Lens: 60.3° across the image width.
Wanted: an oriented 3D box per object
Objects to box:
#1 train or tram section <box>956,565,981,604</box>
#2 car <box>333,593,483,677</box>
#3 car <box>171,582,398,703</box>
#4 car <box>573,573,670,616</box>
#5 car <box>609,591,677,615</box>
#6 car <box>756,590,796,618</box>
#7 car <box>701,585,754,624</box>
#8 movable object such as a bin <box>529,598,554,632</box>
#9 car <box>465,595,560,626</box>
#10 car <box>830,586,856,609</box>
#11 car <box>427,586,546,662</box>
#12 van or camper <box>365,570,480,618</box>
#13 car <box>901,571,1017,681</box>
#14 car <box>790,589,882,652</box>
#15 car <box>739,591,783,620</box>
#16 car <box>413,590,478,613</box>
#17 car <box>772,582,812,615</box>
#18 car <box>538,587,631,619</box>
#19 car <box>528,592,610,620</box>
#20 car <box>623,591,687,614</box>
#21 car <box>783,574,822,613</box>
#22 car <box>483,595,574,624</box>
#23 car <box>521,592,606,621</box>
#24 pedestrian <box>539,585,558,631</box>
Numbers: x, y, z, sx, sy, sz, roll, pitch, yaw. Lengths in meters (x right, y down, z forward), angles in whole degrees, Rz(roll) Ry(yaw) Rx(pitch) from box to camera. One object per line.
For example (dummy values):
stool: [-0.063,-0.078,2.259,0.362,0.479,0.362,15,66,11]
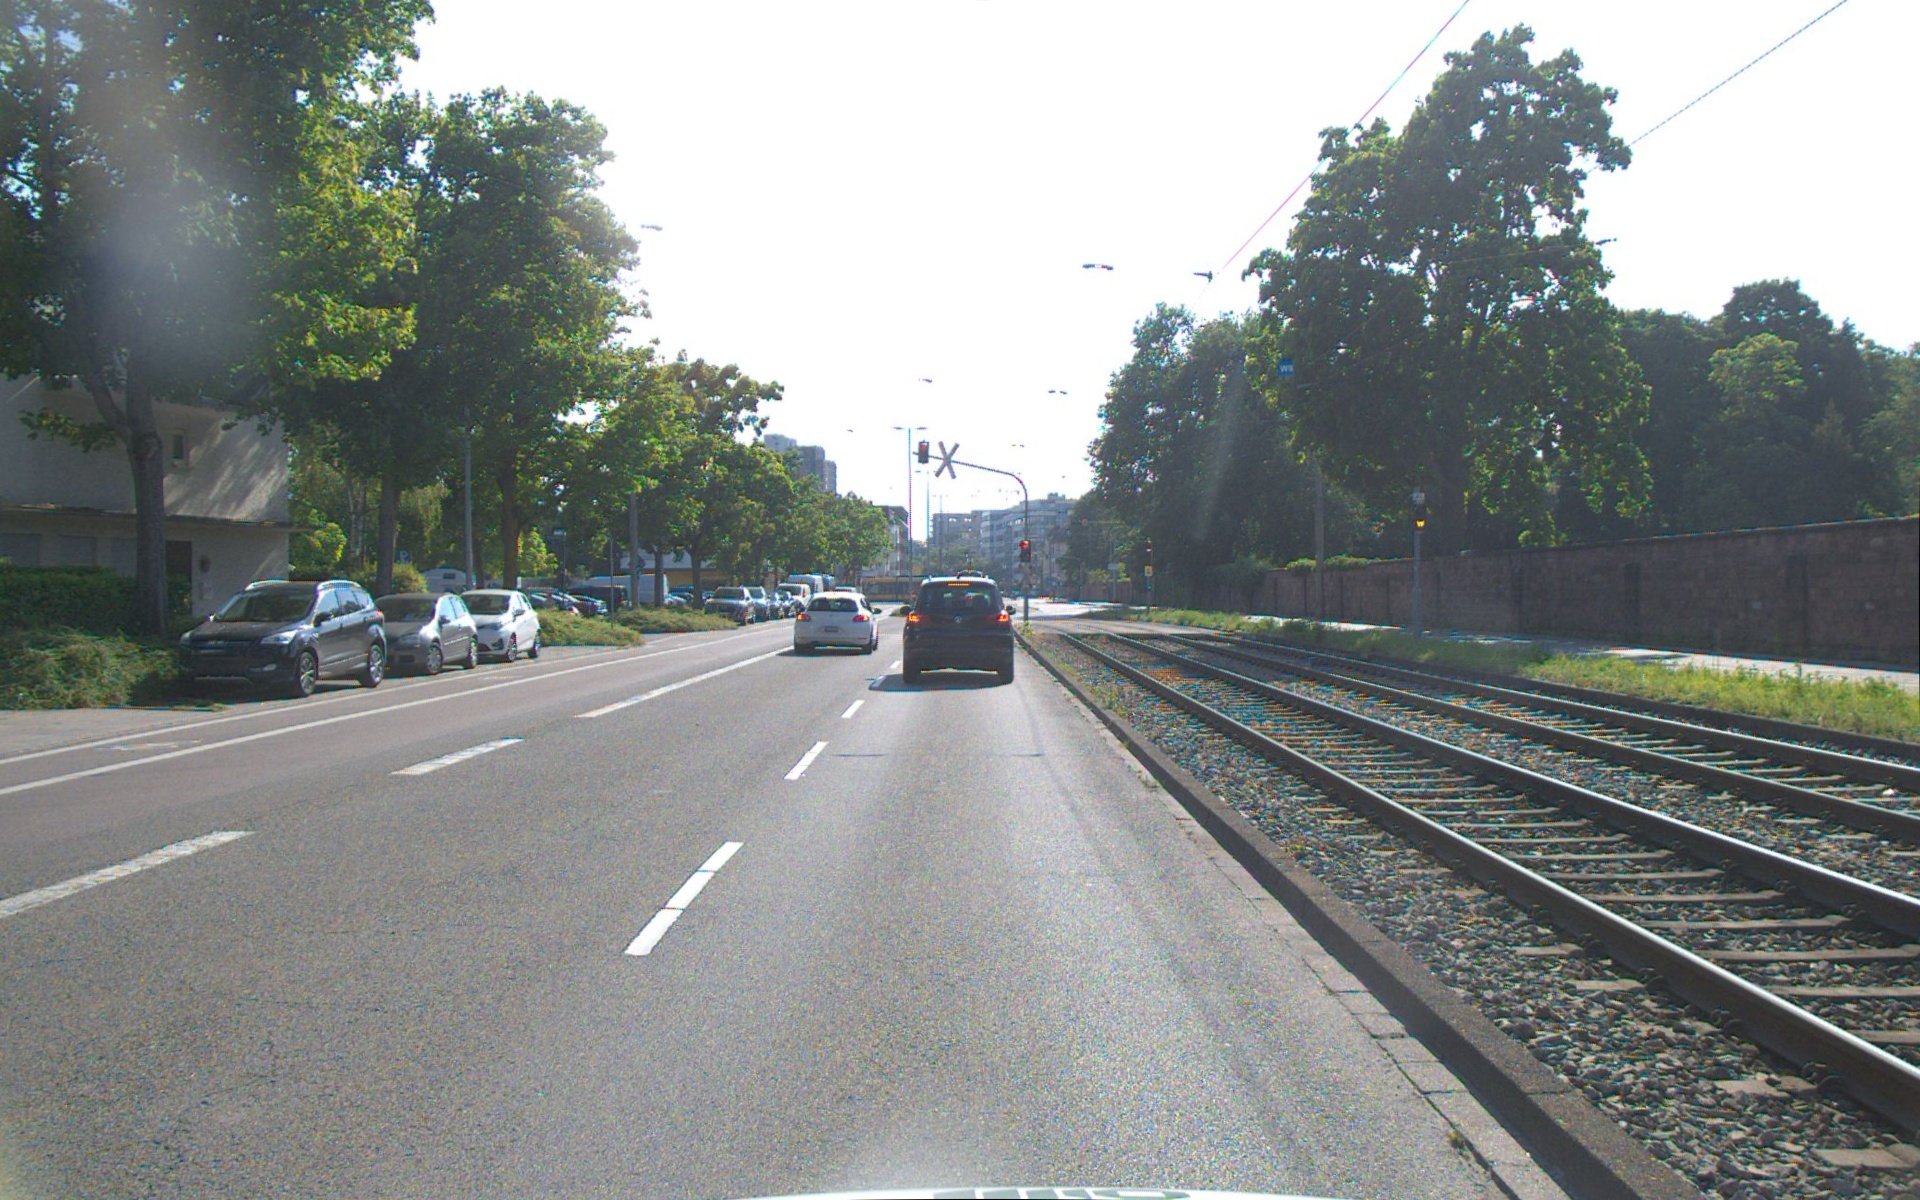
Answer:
train or tram section: [0.843,-1.502,162.208,2.279,3.632,8.900,-1,0,1]
car: [-10.470,0.616,31.650,1.643,1.494,3.967,0,0,-2]
car: [-10.405,0.593,25.848,1.677,1.723,4.423,0,0,1]
car: [-19.978,-0.317,97.682,5.265,2.466,2.088,-1,0,0]
car: [-19.720,0.190,103.090,3.907,1.422,1.736,-1,0,-3]
car: [-10.253,0.204,92.451,1.696,1.475,3.736,-1,1,2]
car: [-10.455,0.190,74.588,1.696,1.686,4.001,-1,0,2]
movable object such as a bin: [-15.098,0.538,59.705,0.531,1.166,1.261,-1,0,1]
car: [-20.592,0.468,76.193,3.907,1.330,1.736,-1,0,-3]
car: [-9.459,-0.217,134.304,1.696,1.724,4.001,-1,1,2]
car: [-10.567,0.498,37.170,1.568,1.577,3.894,1,0,-1]
van or camper: [-33.238,-0.379,102.423,6.330,2.918,2.308,0,0,1]
car: [0.009,0.399,27.431,1.774,1.673,4.000,0,0,1]
car: [-2.852,0.443,38.822,1.826,1.371,4.000,0,0,1]
car: [-10.406,0.266,86.569,1.696,1.413,3.736,-1,1,2]
car: [-32.827,0.073,105.590,3.590,1.422,1.736,-1,0,-3]
car: [-9.904,-0.112,97.768,1.696,1.892,4.490,-1,0,2]
car: [-20.321,0.158,89.640,4.524,1.680,2.049,-1,0,-2]
car: [-20.620,0.302,87.253,3.907,1.422,1.736,-1,0,-3]
car: [-19.997,0.154,108.563,3.907,1.422,1.736,-1,0,-3]
car: [-9.918,-0.431,104.443,1.825,2.388,4.986,-1,0,2]
car: [-20.515,0.451,78.784,3.907,1.330,1.736,-1,0,-3]
car: [-20.173,0.318,84.294,3.907,1.422,1.736,-1,0,-3]
pedestrian: [-15.086,0.280,60.644,0.513,1.656,0.610,-1,0,0]
